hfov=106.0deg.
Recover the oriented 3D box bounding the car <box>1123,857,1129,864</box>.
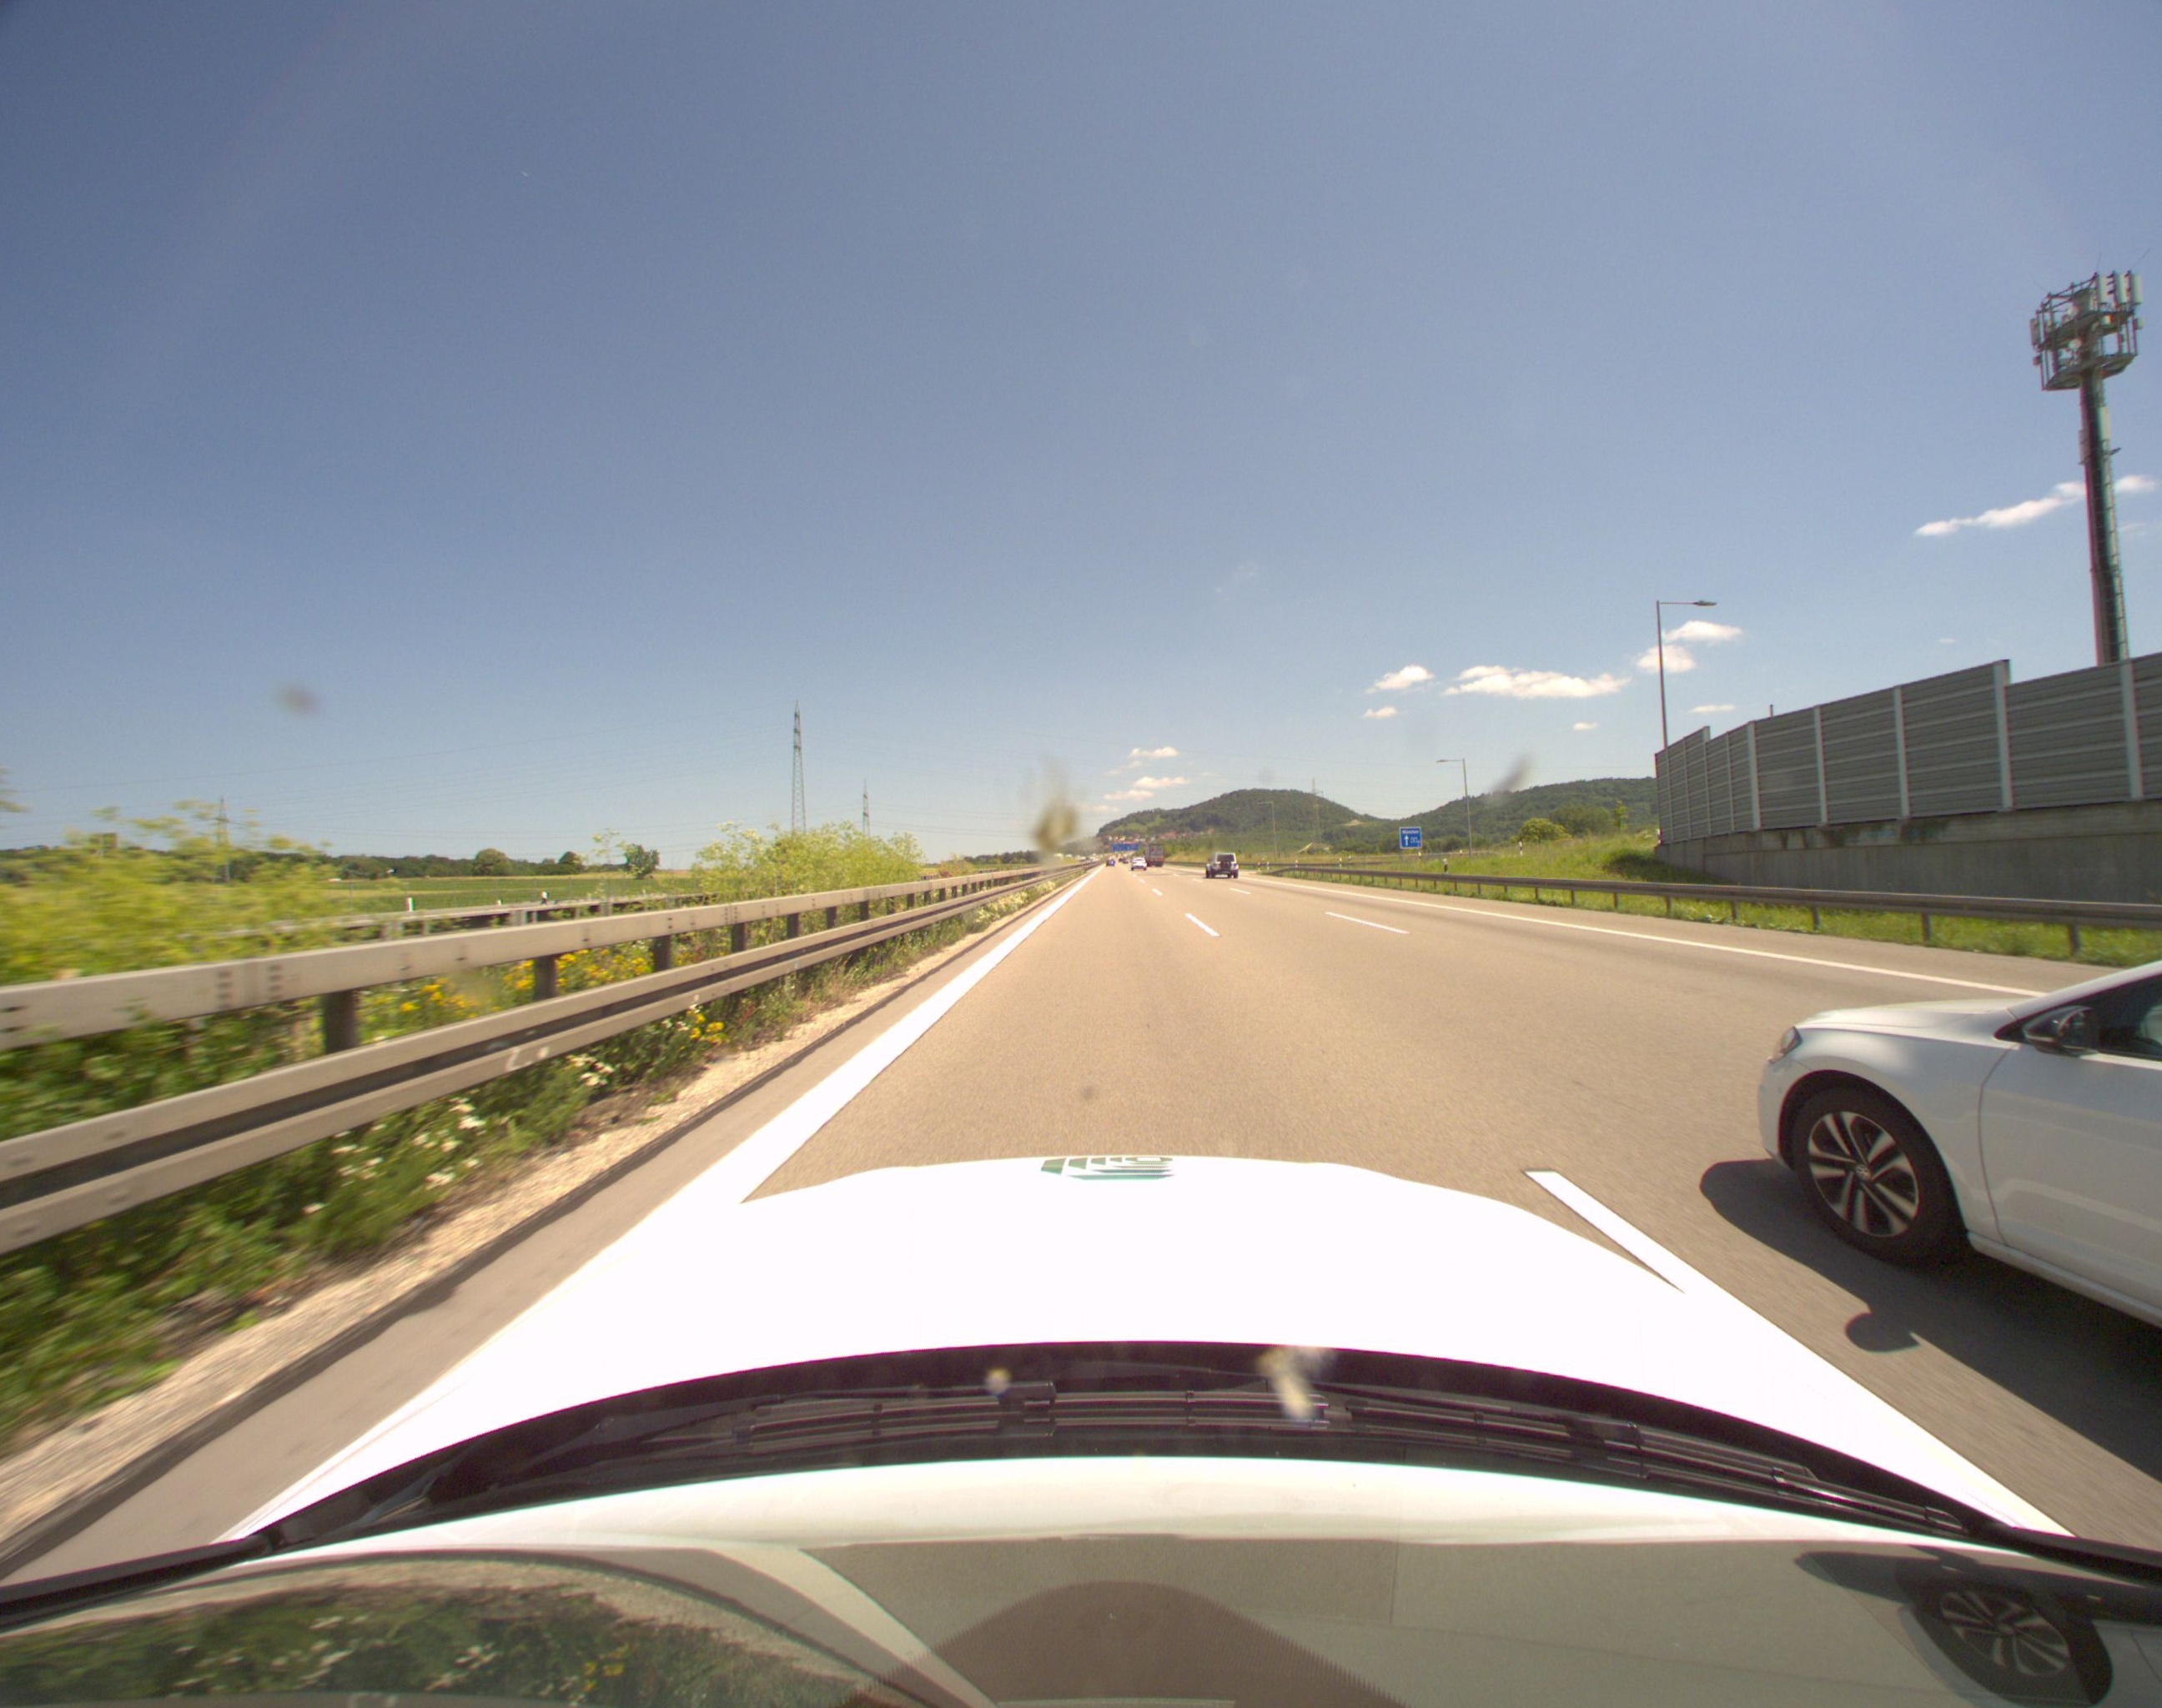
[{"bbox_3d":[13.503,1.841,244.479,1.985,2.014,4.003,0,-1,3],"label":"car"}]

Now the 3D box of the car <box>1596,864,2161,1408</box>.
[{"bbox_3d":[3.739,0.746,2.239,1.769,1.433,4.692,0,-1,1],"label":"car"}]

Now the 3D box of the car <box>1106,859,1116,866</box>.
[{"bbox_3d":[6.063,1.749,162.303,1.985,1.389,4.003,0,-1,3],"label":"car"}]

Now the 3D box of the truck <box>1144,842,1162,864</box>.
[{"bbox_3d":[13.631,-0.163,154.533,2.743,4.021,6.788,0,-1,1],"label":"truck"}]

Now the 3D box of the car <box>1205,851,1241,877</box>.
[{"bbox_3d":[10.469,0.704,60.191,2.027,1.804,4.251,-1,0,1],"label":"car"}]

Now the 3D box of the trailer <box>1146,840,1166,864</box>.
[{"bbox_3d":[13.585,-0.261,148.096,2.716,4.155,11.807,0,-1,0],"label":"trailer"}]

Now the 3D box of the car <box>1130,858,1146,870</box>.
[{"bbox_3d":[7.313,1.306,104.548,1.907,1.581,5.232,0,-1,2],"label":"car"}]
